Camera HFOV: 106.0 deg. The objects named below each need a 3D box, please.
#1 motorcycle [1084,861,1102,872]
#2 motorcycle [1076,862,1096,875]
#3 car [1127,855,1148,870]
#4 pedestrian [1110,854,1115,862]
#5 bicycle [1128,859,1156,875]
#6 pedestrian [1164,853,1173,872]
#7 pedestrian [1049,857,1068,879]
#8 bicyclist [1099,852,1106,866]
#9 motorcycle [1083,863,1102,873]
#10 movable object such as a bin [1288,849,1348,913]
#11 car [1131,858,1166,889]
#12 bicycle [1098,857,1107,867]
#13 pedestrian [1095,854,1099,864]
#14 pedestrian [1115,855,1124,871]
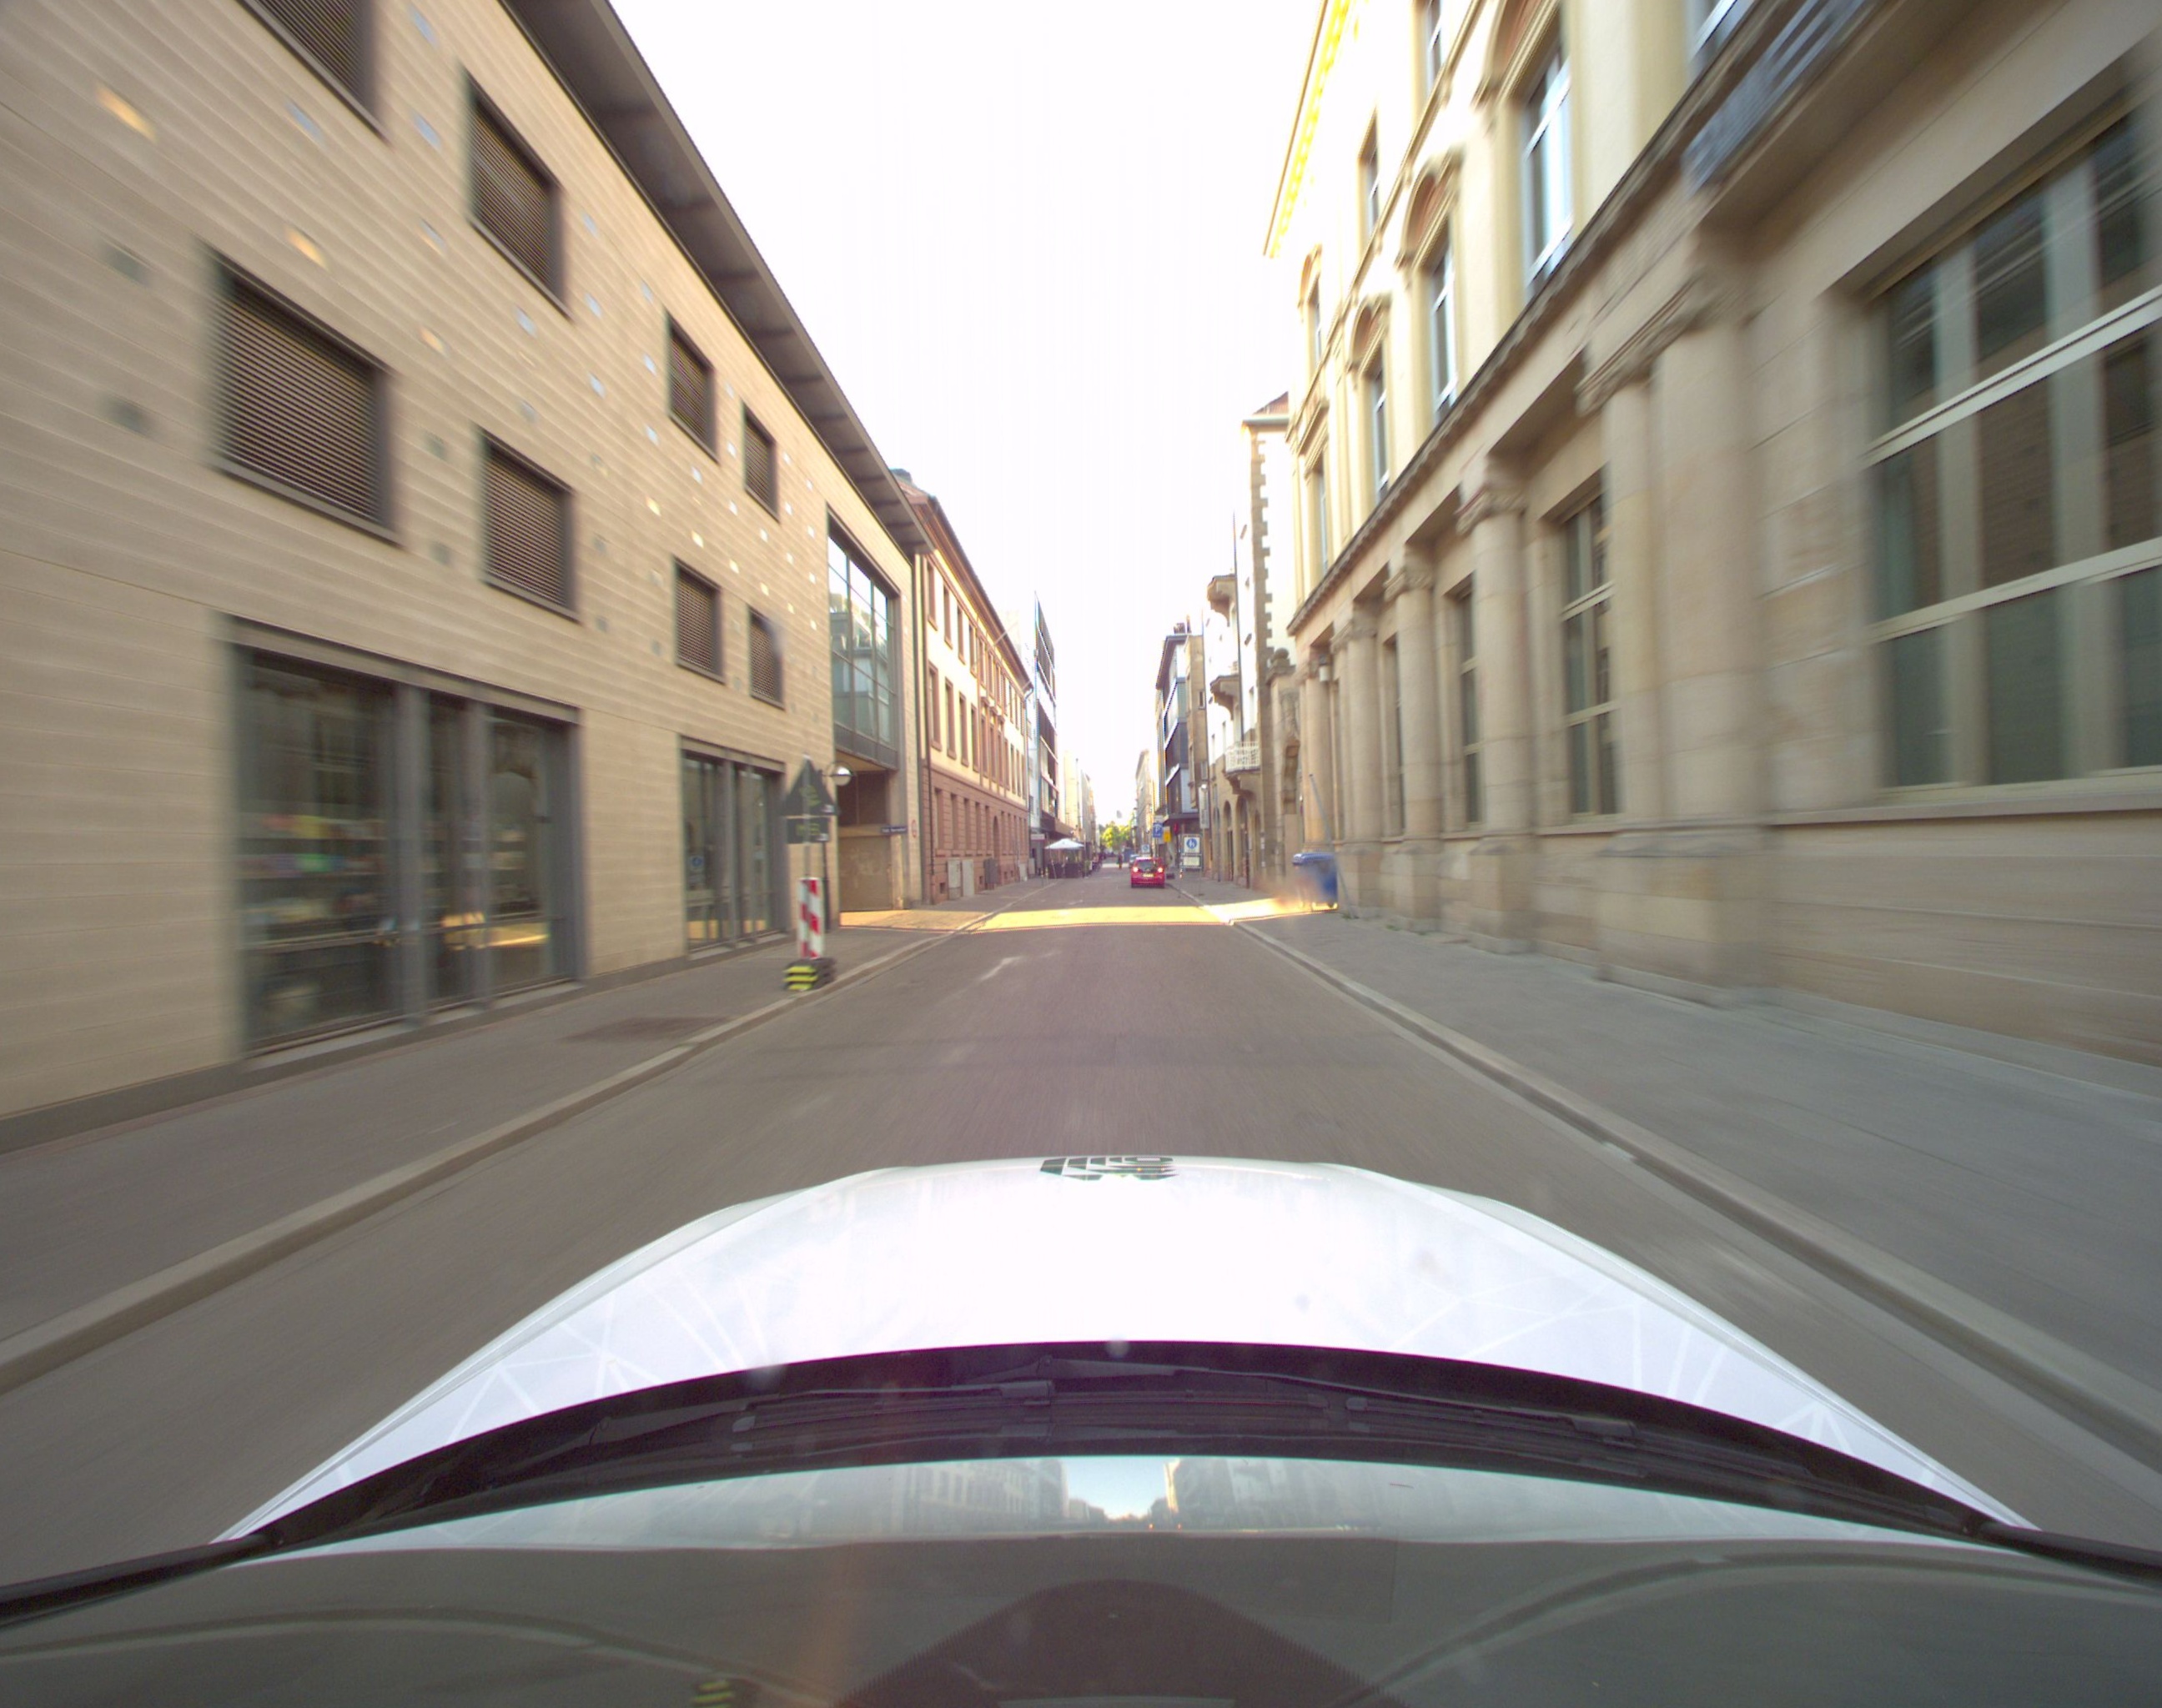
[{"bbox_3d":[1.192,1.232,80.950,1.796,0.989,0.560,-2,0,-2],"label":"motorcycle"},{"bbox_3d":[0.434,1.286,71.744,1.796,1.040,0.493,-2,0,-2],"label":"motorcycle"},{"bbox_3d":[6.191,0.908,89.333,1.986,1.611,4.001,-2,0,1],"label":"car"},{"bbox_3d":[6.677,0.821,172.417,0.801,1.672,0.889,-2,0,4],"label":"pedestrian"},{"bbox_3d":[4.623,0.954,61.749,2.046,1.134,0.649,-2,0,-2],"label":"bicycle"},{"bbox_3d":[6.961,0.644,64.626,0.653,1.487,0.493,-2,-1,4],"label":"pedestrian"},{"bbox_3d":[-1.543,0.964,55.895,1.286,1.487,0.661,-2,0,0],"label":"pedestrian"},{"bbox_3d":[2.532,0.592,97.119,0.635,1.641,0.770,-2,0,-7],"label":"bicyclist"},{"bbox_3d":[1.099,1.366,79.912,1.796,0.875,0.560,-2,0,-2],"label":"motorcycle"},{"bbox_3d":[5.488,0.610,18.925,0.987,1.392,1.241,-3,0,2],"label":"movable object such as a bin"},{"bbox_3d":[3.271,0.933,39.959,1.642,1.427,3.538,1,0,3],"label":"car"},{"bbox_3d":[2.545,0.974,97.118,0.635,1.157,2.496,-2,0,-6],"label":"bicycle"},{"bbox_3d":[2.557,0.799,130.776,0.675,1.623,0.626,-2,-1,4],"label":"pedestrian"},{"bbox_3d":[4.240,1.025,90.096,0.863,1.713,0.852,-2,0,1],"label":"pedestrian"}]
